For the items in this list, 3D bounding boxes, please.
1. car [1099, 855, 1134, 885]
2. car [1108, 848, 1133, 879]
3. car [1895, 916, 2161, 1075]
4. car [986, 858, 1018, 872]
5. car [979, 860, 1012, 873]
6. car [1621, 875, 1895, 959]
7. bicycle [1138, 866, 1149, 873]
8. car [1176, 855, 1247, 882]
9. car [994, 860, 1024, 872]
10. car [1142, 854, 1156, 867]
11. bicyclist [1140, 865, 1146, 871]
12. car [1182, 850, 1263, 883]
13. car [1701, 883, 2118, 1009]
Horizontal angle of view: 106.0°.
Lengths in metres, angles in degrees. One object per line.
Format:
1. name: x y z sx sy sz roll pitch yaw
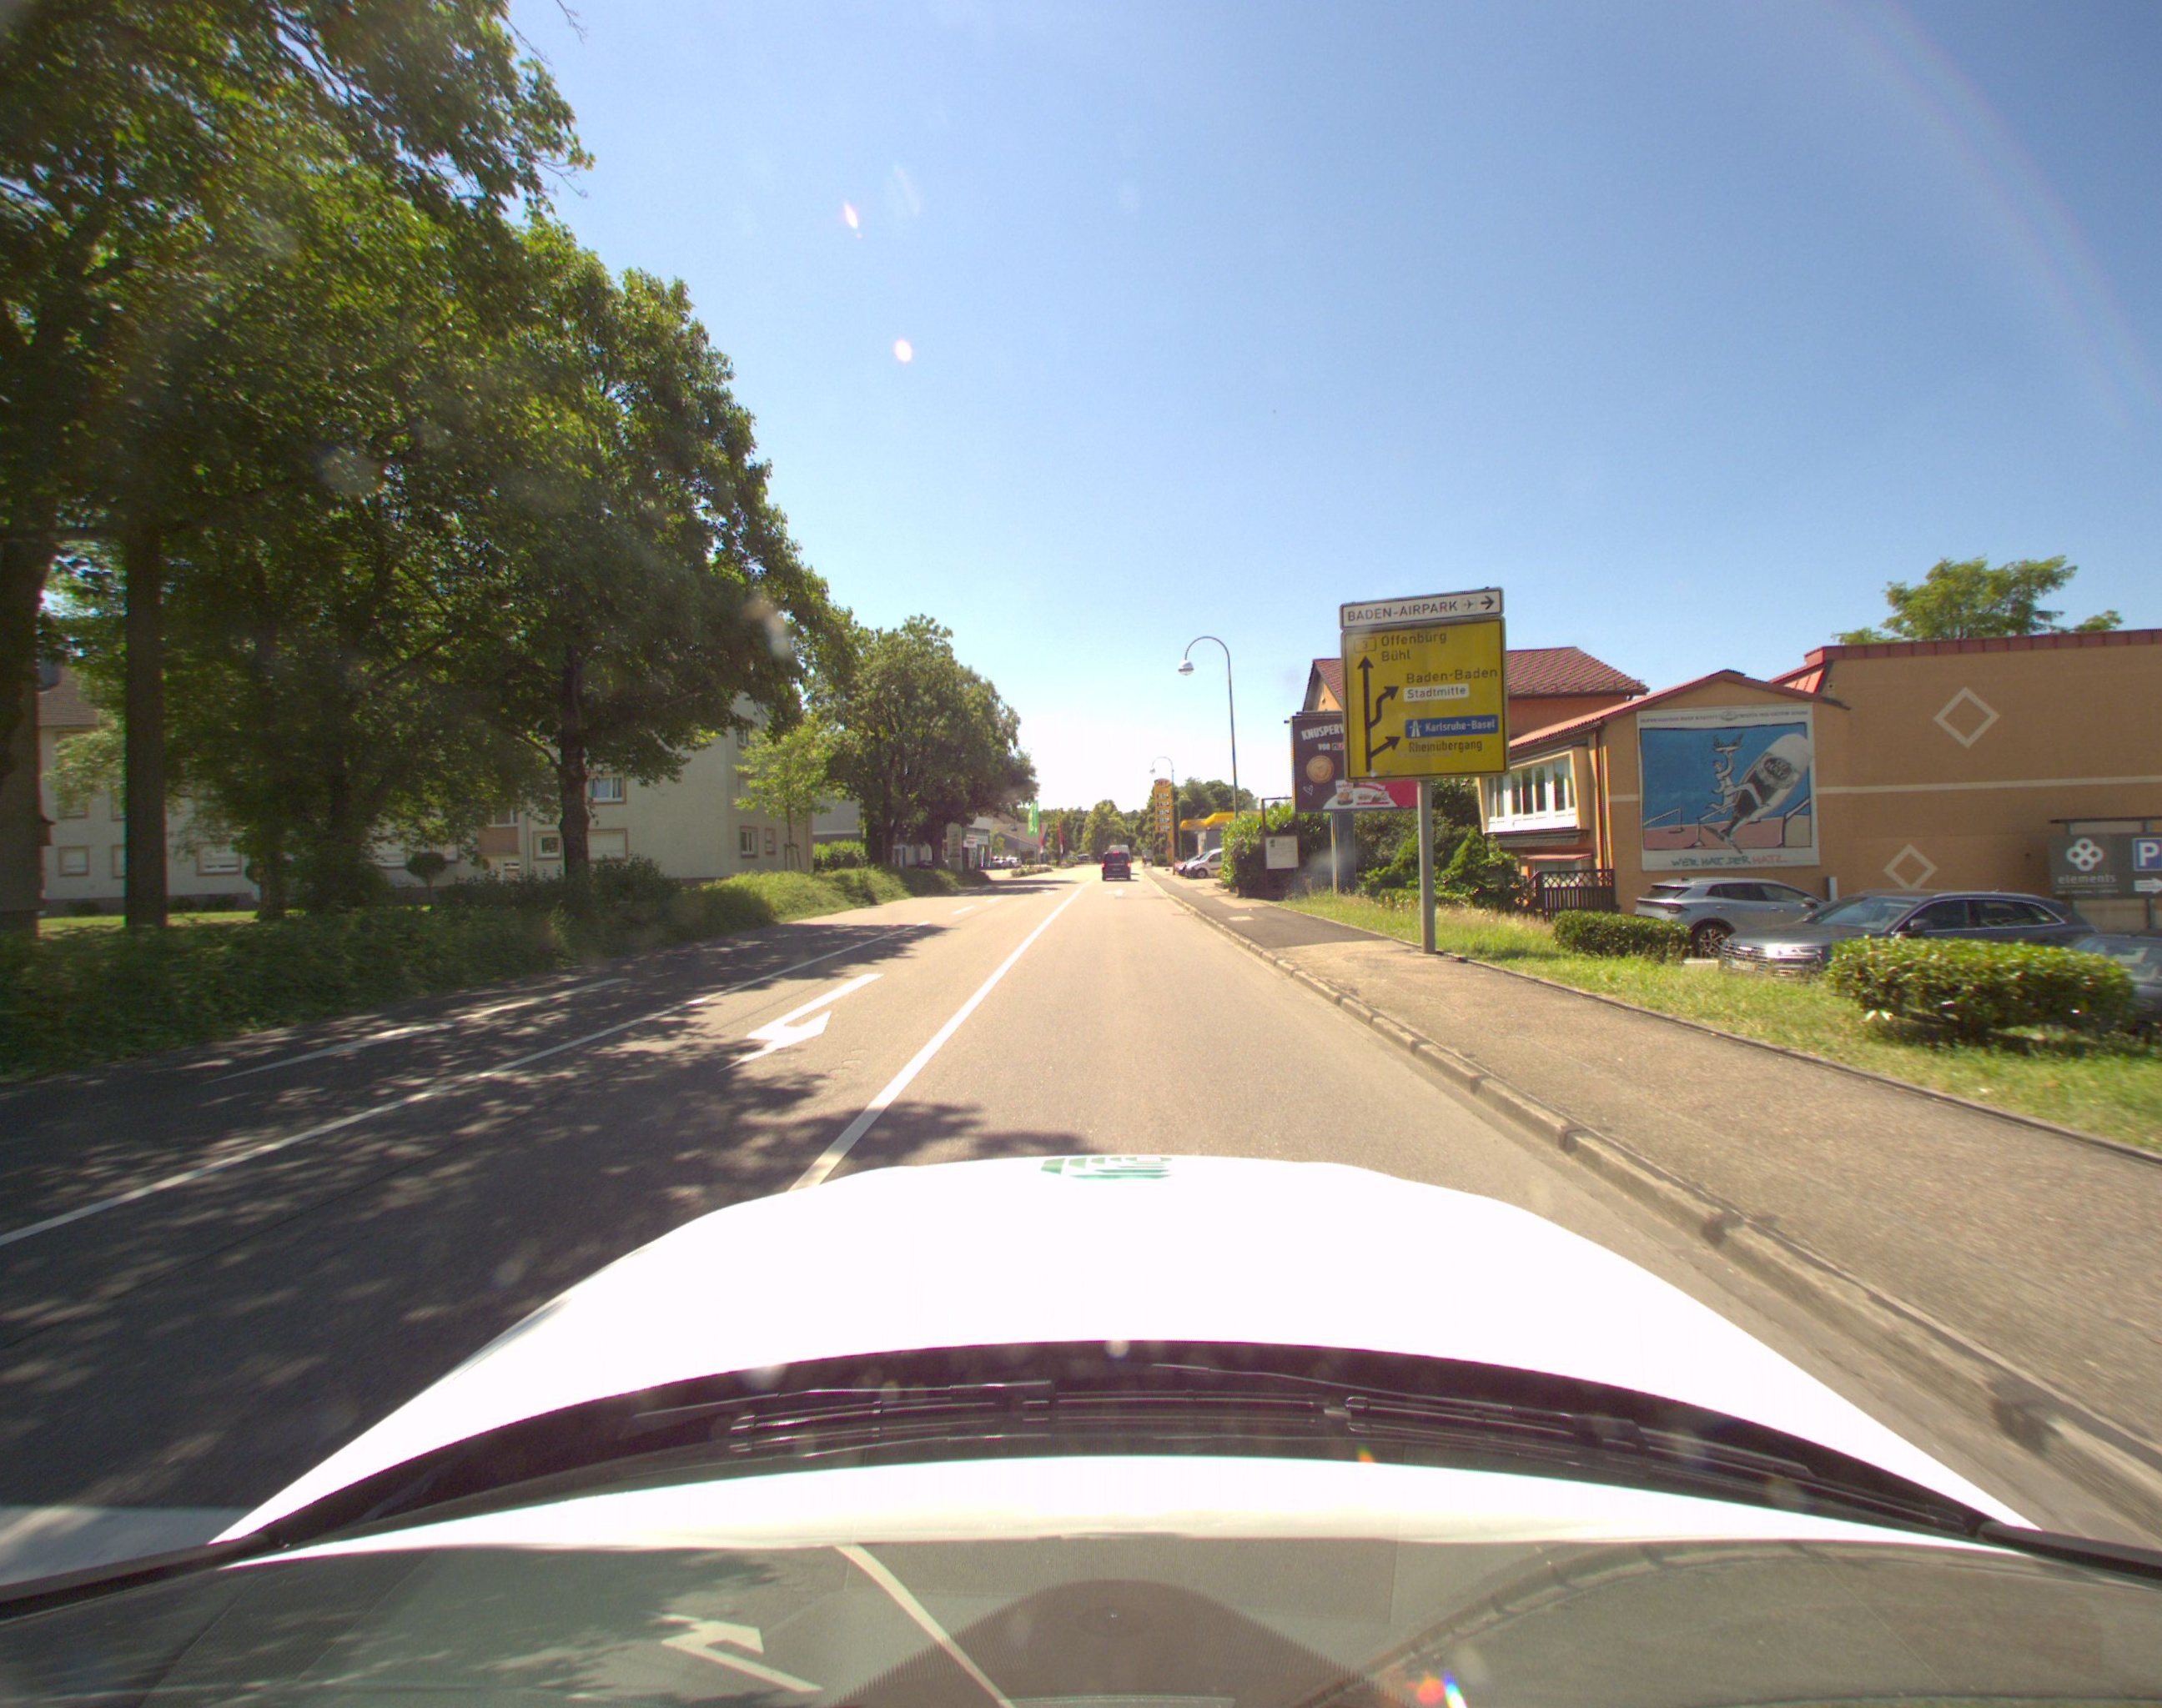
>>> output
1. car: 2.293 1.014 53.445 1.988 1.893 3.997 -1 0 -2
2. car: 3.531 0.816 73.687 2.112 2.677 5.665 -1 0 2
3. car: 11.478 1.448 8.746 3.602 1.417 1.702 -1 0 7
4. car: -11.148 1.545 114.943 3.959 1.832 1.954 -1 0 13
5. car: -11.595 1.654 110.556 4.009 1.706 1.912 -1 0 19
6. car: 14.556 1.349 17.762 4.235 1.599 1.894 -2 0 8
7. bicycle: 8.759 2.144 113.919 1.731 0.887 0.551 -4 3 -45
8. car: 8.328 0.901 52.268 4.147 1.457 1.905 -3 0 -3
9. car: -10.486 1.721 118.353 3.961 1.662 2.007 -1 0 11
10. car: 14.091 1.365 167.930 2.337 2.546 4.972 -1 0 11
11. bicyclist: 8.653 1.922 113.823 0.472 0.853 0.551 -4 3 -44
12. car: 8.630 0.772 50.016 4.545 1.717 1.998 -3 0 -3
13. car: 12.191 1.316 12.249 4.254 1.646 1.891 -1 0 3
